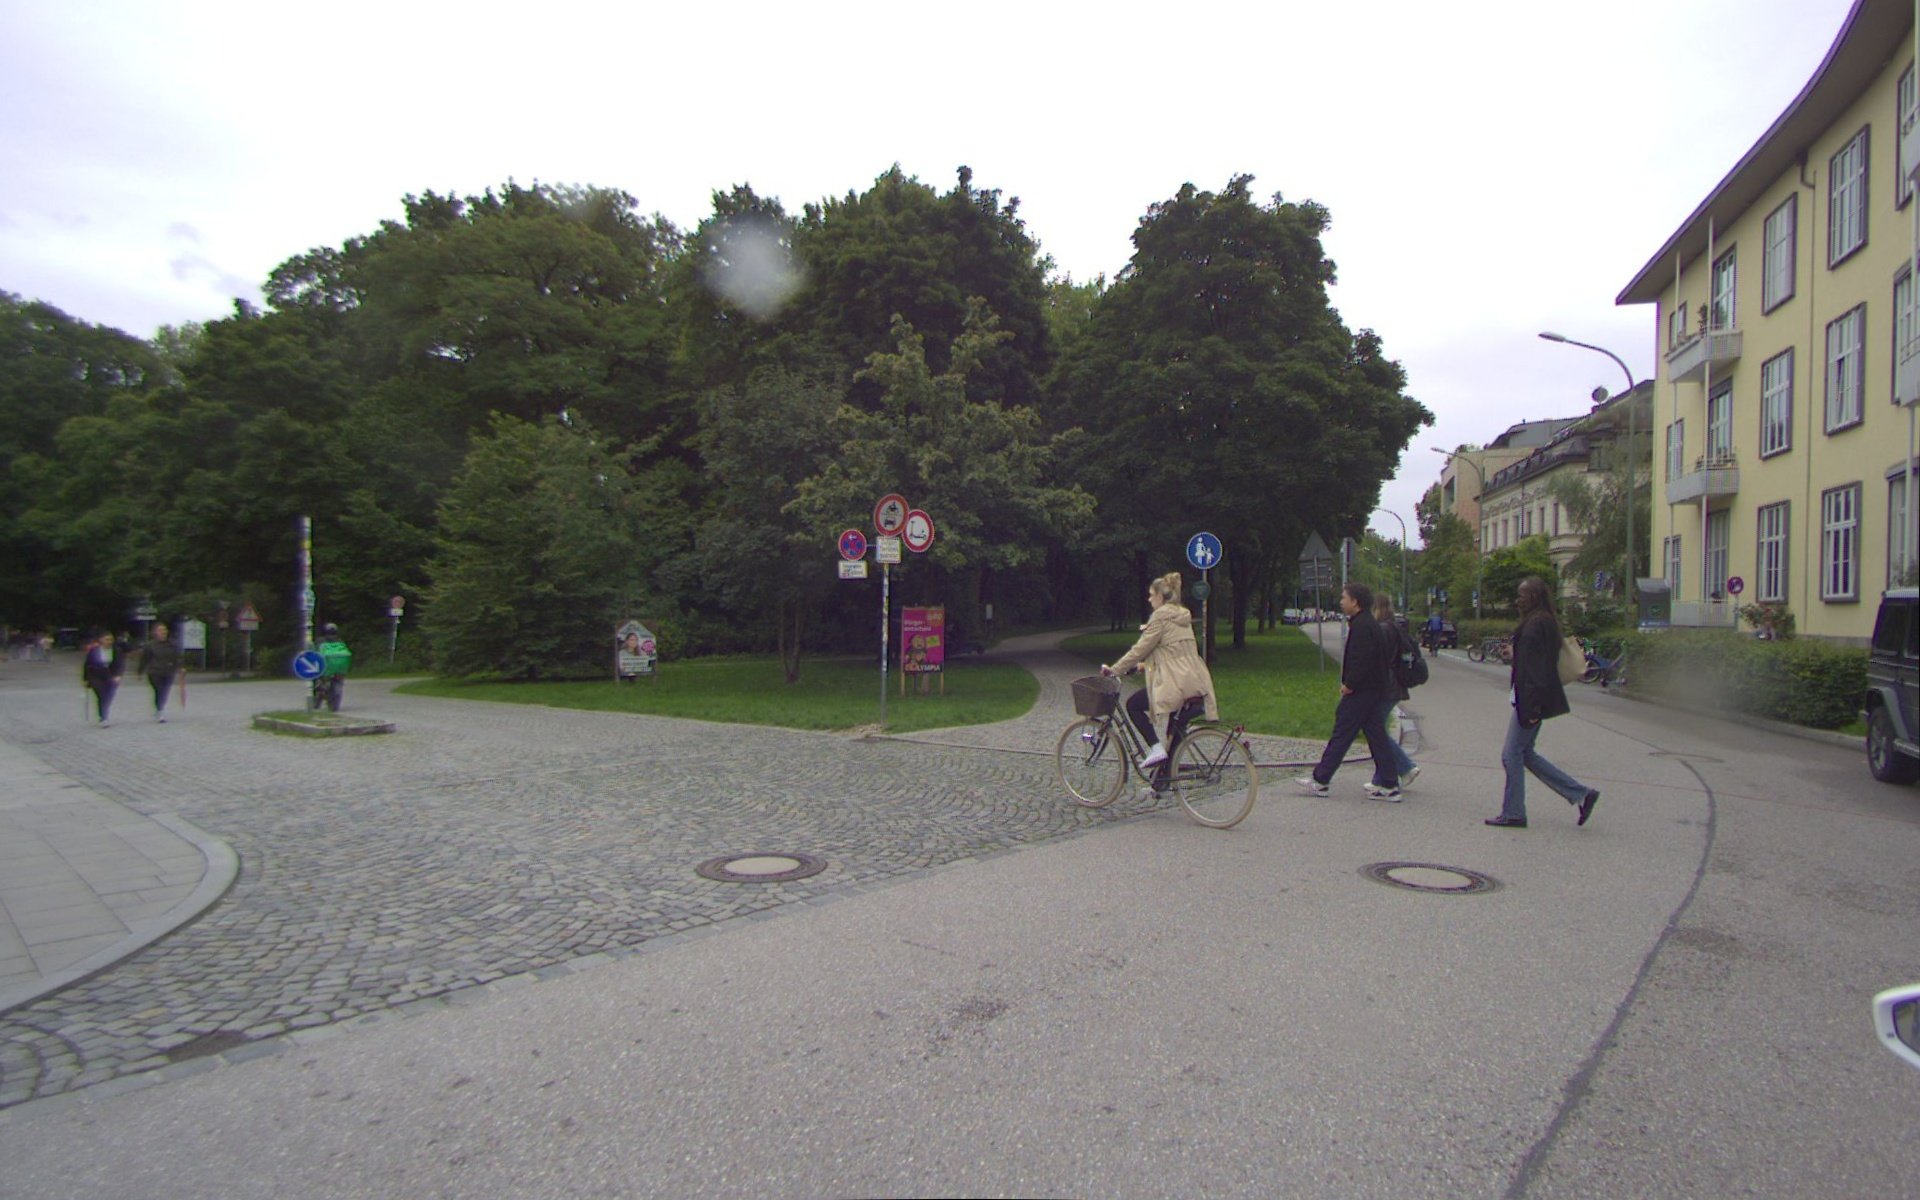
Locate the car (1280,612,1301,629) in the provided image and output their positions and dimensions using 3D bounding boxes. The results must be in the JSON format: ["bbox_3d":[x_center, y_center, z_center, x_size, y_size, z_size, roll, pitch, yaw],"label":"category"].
[{"bbox_3d":[33.202,2.082,100.979,1.960,1.622,4.468,1,-1,18],"label":"car"}]

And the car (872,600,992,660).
[{"bbox_3d":[-1.024,1.071,35.560,3.935,2.040,1.782,1,-1,-16],"label":"car"}]

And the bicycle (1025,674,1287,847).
[{"bbox_3d":[1.441,1.151,7.707,0.680,1.038,1.941,1,-1,-44],"label":"bicycle"}]

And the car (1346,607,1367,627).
[{"bbox_3d":[42.300,1.826,107.238,2.032,1.992,4.976,1,-1,21],"label":"car"}]

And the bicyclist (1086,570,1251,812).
[{"bbox_3d":[1.565,0.636,7.582,0.692,1.678,0.993,1,-1,-44],"label":"bicyclist"}]

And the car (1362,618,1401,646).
[{"bbox_3d":[22.653,1.691,54.058,1.718,1.425,3.727,1,-1,19],"label":"car"}]

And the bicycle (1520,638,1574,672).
[{"bbox_3d":[18.130,1.705,31.019,1.509,1.028,0.409,0,-1,-7],"label":"bicycle"}]

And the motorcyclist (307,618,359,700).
[{"bbox_3d":[-12.078,1.112,19.343,0.708,1.521,0.888,1,0,-40],"label":"motorcyclist"}]

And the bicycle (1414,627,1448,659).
[{"bbox_3d":[20.161,1.819,43.041,0.905,1.269,2.323,1,-1,15],"label":"bicycle"}]

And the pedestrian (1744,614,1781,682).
[{"bbox_3d":[20.559,1.209,25.750,0.622,1.706,0.697,0,-1,29],"label":"pedestrian"}]

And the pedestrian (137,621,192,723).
[{"bbox_3d":[-13.897,1.227,17.555,0.741,1.720,0.656,0,0,44],"label":"pedestrian"}]

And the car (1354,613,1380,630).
[{"bbox_3d":[39.762,2.123,98.194,1.960,1.622,4.255,1,-1,17],"label":"car"}]

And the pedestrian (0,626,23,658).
[{"bbox_3d":[-61.571,2.710,65.116,1.130,2.040,1.048,-1,-1,36],"label":"pedestrian"}]

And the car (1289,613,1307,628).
[{"bbox_3d":[39.187,2.341,116.448,1.960,1.622,4.468,1,-1,18],"label":"car"}]

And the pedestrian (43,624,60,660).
[{"bbox_3d":[-52.149,2.423,57.646,0.708,2.040,0.693,-1,-1,43],"label":"pedestrian"}]

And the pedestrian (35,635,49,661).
[{"bbox_3d":[-55.198,2.871,60.420,0.535,1.514,0.537,-1,-1,40],"label":"pedestrian"}]

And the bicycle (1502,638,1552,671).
[{"bbox_3d":[18.096,1.744,32.059,1.510,1.028,0.408,0,-1,-11],"label":"bicycle"}]

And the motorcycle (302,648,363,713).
[{"bbox_3d":[-12.144,1.526,19.405,0.713,1.113,1.954,1,-1,-40],"label":"motorcycle"}]

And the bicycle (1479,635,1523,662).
[{"bbox_3d":[21.284,1.898,39.511,1.507,1.028,0.409,0,-1,2],"label":"bicycle"}]

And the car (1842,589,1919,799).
[{"bbox_3d":[9.555,0.858,8.724,1.845,1.913,4.611,0,-1,29],"label":"car"}]

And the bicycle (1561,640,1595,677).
[{"bbox_3d":[17.715,1.668,28.794,1.525,1.028,0.363,1,-1,-40],"label":"bicycle"}]

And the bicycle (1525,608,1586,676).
[{"bbox_3d":[17.997,1.265,30.372,1.646,2.040,0.456,0,-1,-7],"label":"bicycle"}]

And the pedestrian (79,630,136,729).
[{"bbox_3d":[-14.386,1.316,16.956,0.687,1.602,0.742,1,0,-43],"label":"pedestrian"}]

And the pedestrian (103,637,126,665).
[{"bbox_3d":[-51.263,3.095,60.912,0.869,1.674,0.729,0,-1,-23],"label":"pedestrian"}]

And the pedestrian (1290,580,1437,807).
[{"bbox_3d":[3.487,0.768,8.726,0.653,1.833,0.983,1,-1,-35],"label":"pedestrian"}]

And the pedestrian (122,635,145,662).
[{"bbox_3d":[-52.635,3.088,63.965,0.719,1.674,0.881,0,-1,25],"label":"pedestrian"}]

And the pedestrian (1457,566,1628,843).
[{"bbox_3d":[4.292,0.730,7.419,0.759,1.882,0.845,1,-2,-35],"label":"pedestrian"}]

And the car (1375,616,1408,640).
[{"bbox_3d":[31.254,1.992,72.815,1.763,1.702,4.001,1,-1,17],"label":"car"}]

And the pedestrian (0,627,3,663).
[{"bbox_3d":[-54.795,2.529,56.987,0.708,2.040,0.693,-1,-1,43],"label":"pedestrian"}]

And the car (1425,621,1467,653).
[{"bbox_3d":[25.915,1.935,53.656,1.619,1.579,3.559,0,-1,20],"label":"car"}]

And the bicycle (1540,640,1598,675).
[{"bbox_3d":[18.109,1.710,29.882,1.508,1.028,0.367,0,-1,-2],"label":"bicycle"}]

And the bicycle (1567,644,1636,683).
[{"bbox_3d":[17.177,1.700,26.924,1.507,1.028,0.367,0,-1,17],"label":"bicycle"}]

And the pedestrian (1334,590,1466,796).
[{"bbox_3d":[4.009,0.809,9.178,0.731,1.769,0.823,1,0,-29],"label":"pedestrian"}]

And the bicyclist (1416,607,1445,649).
[{"bbox_3d":[20.173,1.196,43.062,0.898,1.787,1.216,1,0,14],"label":"bicyclist"}]

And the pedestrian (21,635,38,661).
[{"bbox_3d":[-55.291,2.827,59.685,0.619,1.514,0.660,-1,-1,40],"label":"pedestrian"}]

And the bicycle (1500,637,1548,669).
[{"bbox_3d":[18.919,1.779,33.703,1.510,1.028,0.408,0,-1,-11],"label":"bicycle"}]
